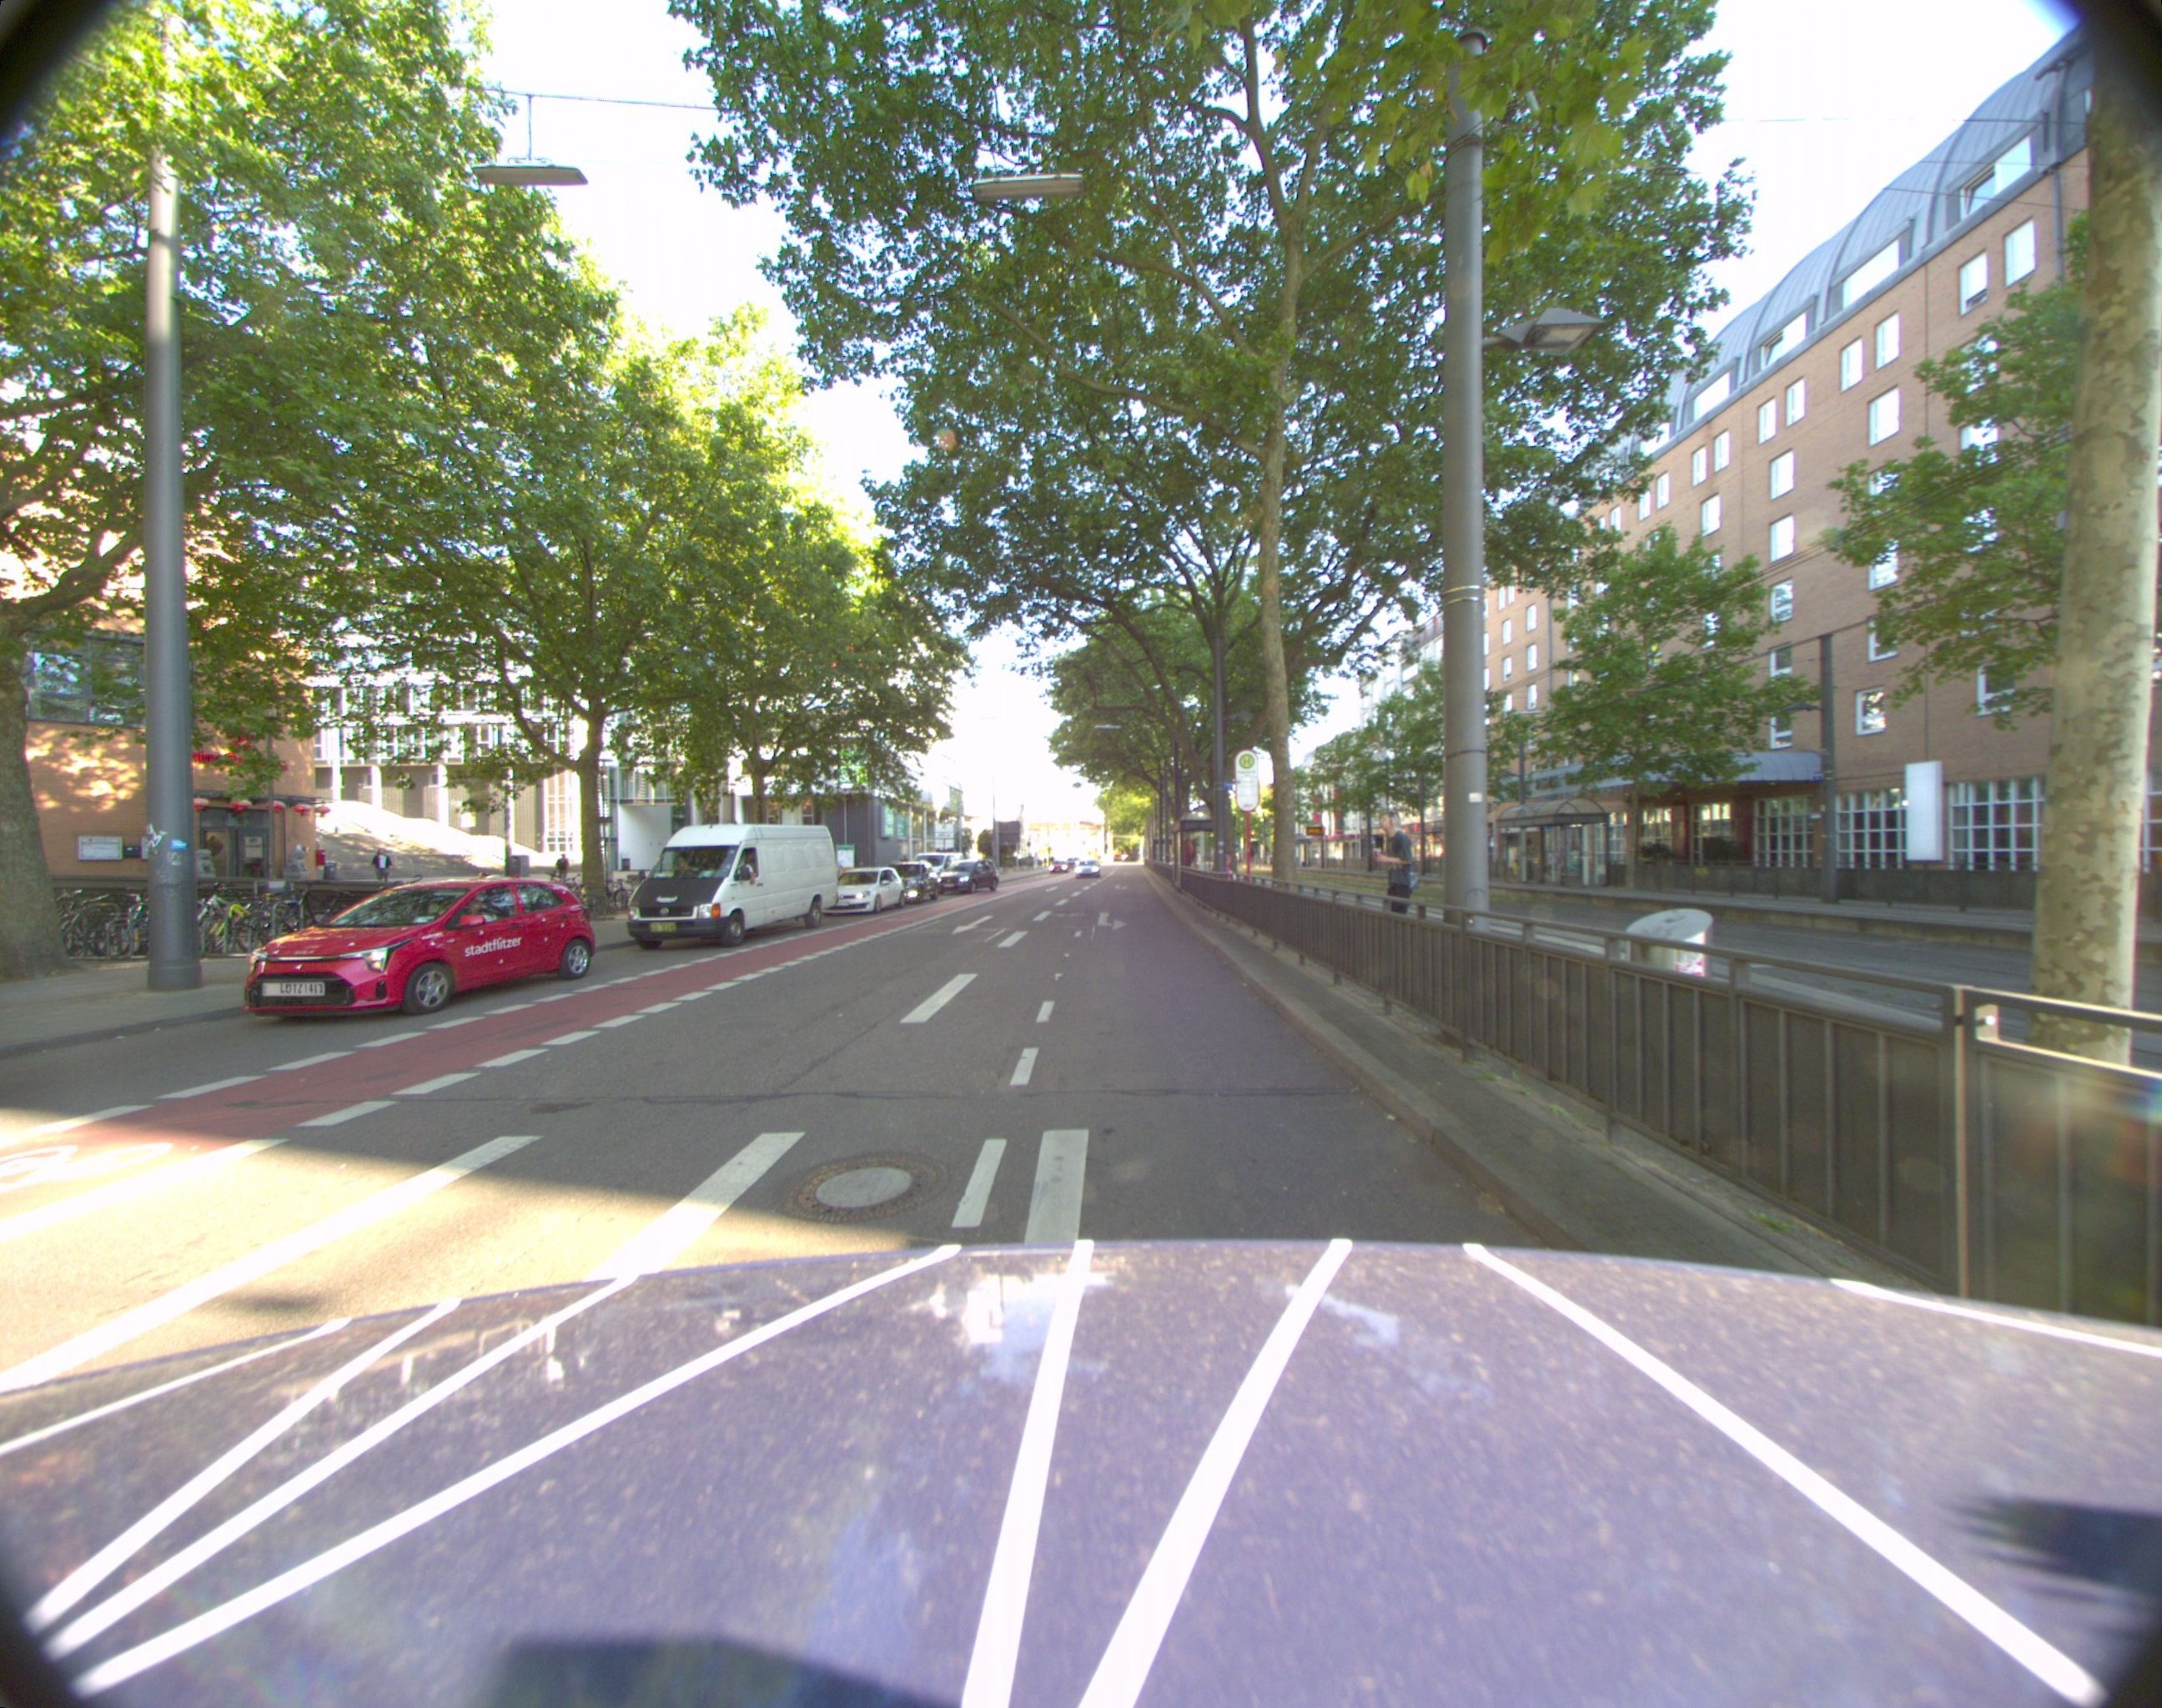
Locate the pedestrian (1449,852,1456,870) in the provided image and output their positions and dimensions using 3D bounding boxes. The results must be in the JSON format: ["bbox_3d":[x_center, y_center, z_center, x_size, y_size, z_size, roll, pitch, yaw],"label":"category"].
[{"bbox_3d":[30.218,0.564,61.804,0.438,1.511,0.659,0,1,23],"label":"pedestrian"}]

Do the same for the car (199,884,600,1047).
[{"bbox_3d":[-7.917,1.178,9.363,1.606,1.449,3.651,-1,0,0],"label":"car"}]

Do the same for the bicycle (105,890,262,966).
[{"bbox_3d":[-15.428,1.236,13.140,0.485,1.118,1.850,0,0,1],"label":"bicycle"}]

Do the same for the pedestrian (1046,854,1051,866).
[{"bbox_3d":[-4.258,0.760,100.139,0.648,1.644,0.643,-1,1,1],"label":"pedestrian"}]

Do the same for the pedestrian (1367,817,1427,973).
[{"bbox_3d":[3.915,0.482,9.439,0.622,1.873,0.607,-1,3,16],"label":"pedestrian"}]

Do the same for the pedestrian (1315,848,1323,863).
[{"bbox_3d":[31.172,0.225,99.554,0.806,2.002,0.763,-1,1,1],"label":"pedestrian"}]

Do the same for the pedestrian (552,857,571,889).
[{"bbox_3d":[-25.483,0.932,37.281,0.719,1.549,0.639,-1,1,-35],"label":"pedestrian"}]

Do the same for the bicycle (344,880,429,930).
[{"bbox_3d":[-17.858,1.287,19.598,0.517,1.187,1.790,0,0,1],"label":"bicycle"}]

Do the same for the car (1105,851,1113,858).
[{"bbox_3d":[7.656,0.180,206.367,1.998,2.002,4.001,0,0,4],"label":"car"}]

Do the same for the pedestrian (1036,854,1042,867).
[{"bbox_3d":[-5.124,0.773,92.554,0.611,1.644,0.583,-1,1,1],"label":"pedestrian"}]

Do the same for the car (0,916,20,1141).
[{"bbox_3d":[-8.007,1.164,2.962,1.743,1.476,4.251,-1,0,0],"label":"car"}]

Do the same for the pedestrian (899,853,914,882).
[{"bbox_3d":[-10.607,0.808,46.243,0.715,1.758,0.526,-1,1,2],"label":"pedestrian"}]

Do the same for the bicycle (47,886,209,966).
[{"bbox_3d":[-16.390,1.198,13.145,0.435,1.187,1.850,0,0,1],"label":"bicycle"}]

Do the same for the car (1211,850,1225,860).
[{"bbox_3d":[27.375,0.224,152.031,1.998,2.002,4.000,-1,0,1],"label":"car"}]

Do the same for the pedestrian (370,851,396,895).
[{"bbox_3d":[-33.083,0.886,36.010,0.878,2.025,0.584,-1,1,-43],"label":"pedestrian"}]

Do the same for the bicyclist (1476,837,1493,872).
[{"bbox_3d":[22.183,0.038,41.793,0.572,1.893,0.813,0,1,6],"label":"bicyclist"}]

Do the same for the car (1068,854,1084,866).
[{"bbox_3d":[-0.666,0.792,99.397,1.801,1.438,4.001,0,0,3],"label":"car"}]

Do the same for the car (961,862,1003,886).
[{"bbox_3d":[-5.940,1.176,46.225,1.801,1.369,4.001,0,0,3],"label":"car"}]

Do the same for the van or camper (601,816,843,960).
[{"bbox_3d":[-7.543,0.611,17.072,1.998,2.563,6.575,-2,0,3],"label":"van or camper"}]

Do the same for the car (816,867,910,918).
[{"bbox_3d":[-7.024,1.188,24.867,1.682,1.420,4.001,-1,0,3],"label":"car"}]

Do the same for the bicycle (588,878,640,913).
[{"bbox_3d":[-15.223,1.328,24.800,0.516,1.027,1.850,0,0,1],"label":"bicycle"}]

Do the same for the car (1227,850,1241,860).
[{"bbox_3d":[29.952,0.211,148.452,1.998,2.002,4.000,-1,0,1],"label":"car"}]

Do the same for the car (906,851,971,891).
[{"bbox_3d":[-7.477,0.862,40.528,1.965,1.983,4.960,-1,0,7],"label":"car"}]

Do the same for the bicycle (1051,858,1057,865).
[{"bbox_3d":[-3.414,0.927,96.636,0.580,0.879,1.671,-1,0,1],"label":"bicycle"}]

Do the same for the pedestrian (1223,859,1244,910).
[{"bbox_3d":[3.929,0.778,19.630,0.500,1.308,0.419,0,1,8],"label":"pedestrian"}]

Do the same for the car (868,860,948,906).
[{"bbox_3d":[-6.698,1.084,29.916,1.818,1.610,4.229,-1,0,5],"label":"car"}]

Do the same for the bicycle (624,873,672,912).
[{"bbox_3d":[-14.118,1.239,24.826,0.495,1.187,1.850,0,0,1],"label":"bicycle"}]

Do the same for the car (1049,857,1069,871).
[{"bbox_3d":[-2.288,1.036,79.541,1.801,1.369,4.001,0,0,3],"label":"car"}]

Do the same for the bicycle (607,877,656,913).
[{"bbox_3d":[-14.662,1.316,24.825,0.522,1.088,1.797,0,0,1],"label":"bicycle"}]

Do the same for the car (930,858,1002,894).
[{"bbox_3d":[-5.529,1.015,37.132,1.964,1.610,4.335,-1,0,14],"label":"car"}]

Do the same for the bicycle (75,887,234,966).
[{"bbox_3d":[-15.927,1.203,13.142,0.458,1.187,1.850,0,0,1],"label":"bicycle"}]

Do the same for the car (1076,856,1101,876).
[{"bbox_3d":[0.624,0.913,59.883,1.733,1.432,4.000,-2,0,2],"label":"car"}]

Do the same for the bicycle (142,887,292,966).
[{"bbox_3d":[-14.845,1.200,13.131,0.447,1.187,1.850,0,0,1],"label":"bicycle"}]

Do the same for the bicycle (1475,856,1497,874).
[{"bbox_3d":[22.280,0.594,41.808,0.451,0.998,1.753,-1,0,6],"label":"bicycle"}]

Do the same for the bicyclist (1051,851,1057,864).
[{"bbox_3d":[-3.412,0.443,96.672,0.673,1.707,0.715,-1,1,1],"label":"bicyclist"}]

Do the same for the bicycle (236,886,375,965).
[{"bbox_3d":[-13.321,1.194,13.135,0.482,1.187,1.850,0,0,1],"label":"bicycle"}]

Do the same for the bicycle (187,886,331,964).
[{"bbox_3d":[-14.329,1.200,13.331,0.484,1.187,1.850,0,0,1],"label":"bicycle"}]

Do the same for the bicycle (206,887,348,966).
[{"bbox_3d":[-13.824,1.205,13.141,0.448,1.187,1.850,0,0,1],"label":"bicycle"}]

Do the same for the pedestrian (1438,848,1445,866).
[{"bbox_3d":[29.534,0.226,62.230,0.438,1.497,0.659,0,1,23],"label":"pedestrian"}]

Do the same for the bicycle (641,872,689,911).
[{"bbox_3d":[-13.575,1.211,24.847,0.522,1.187,1.850,0,0,1],"label":"bicycle"}]
